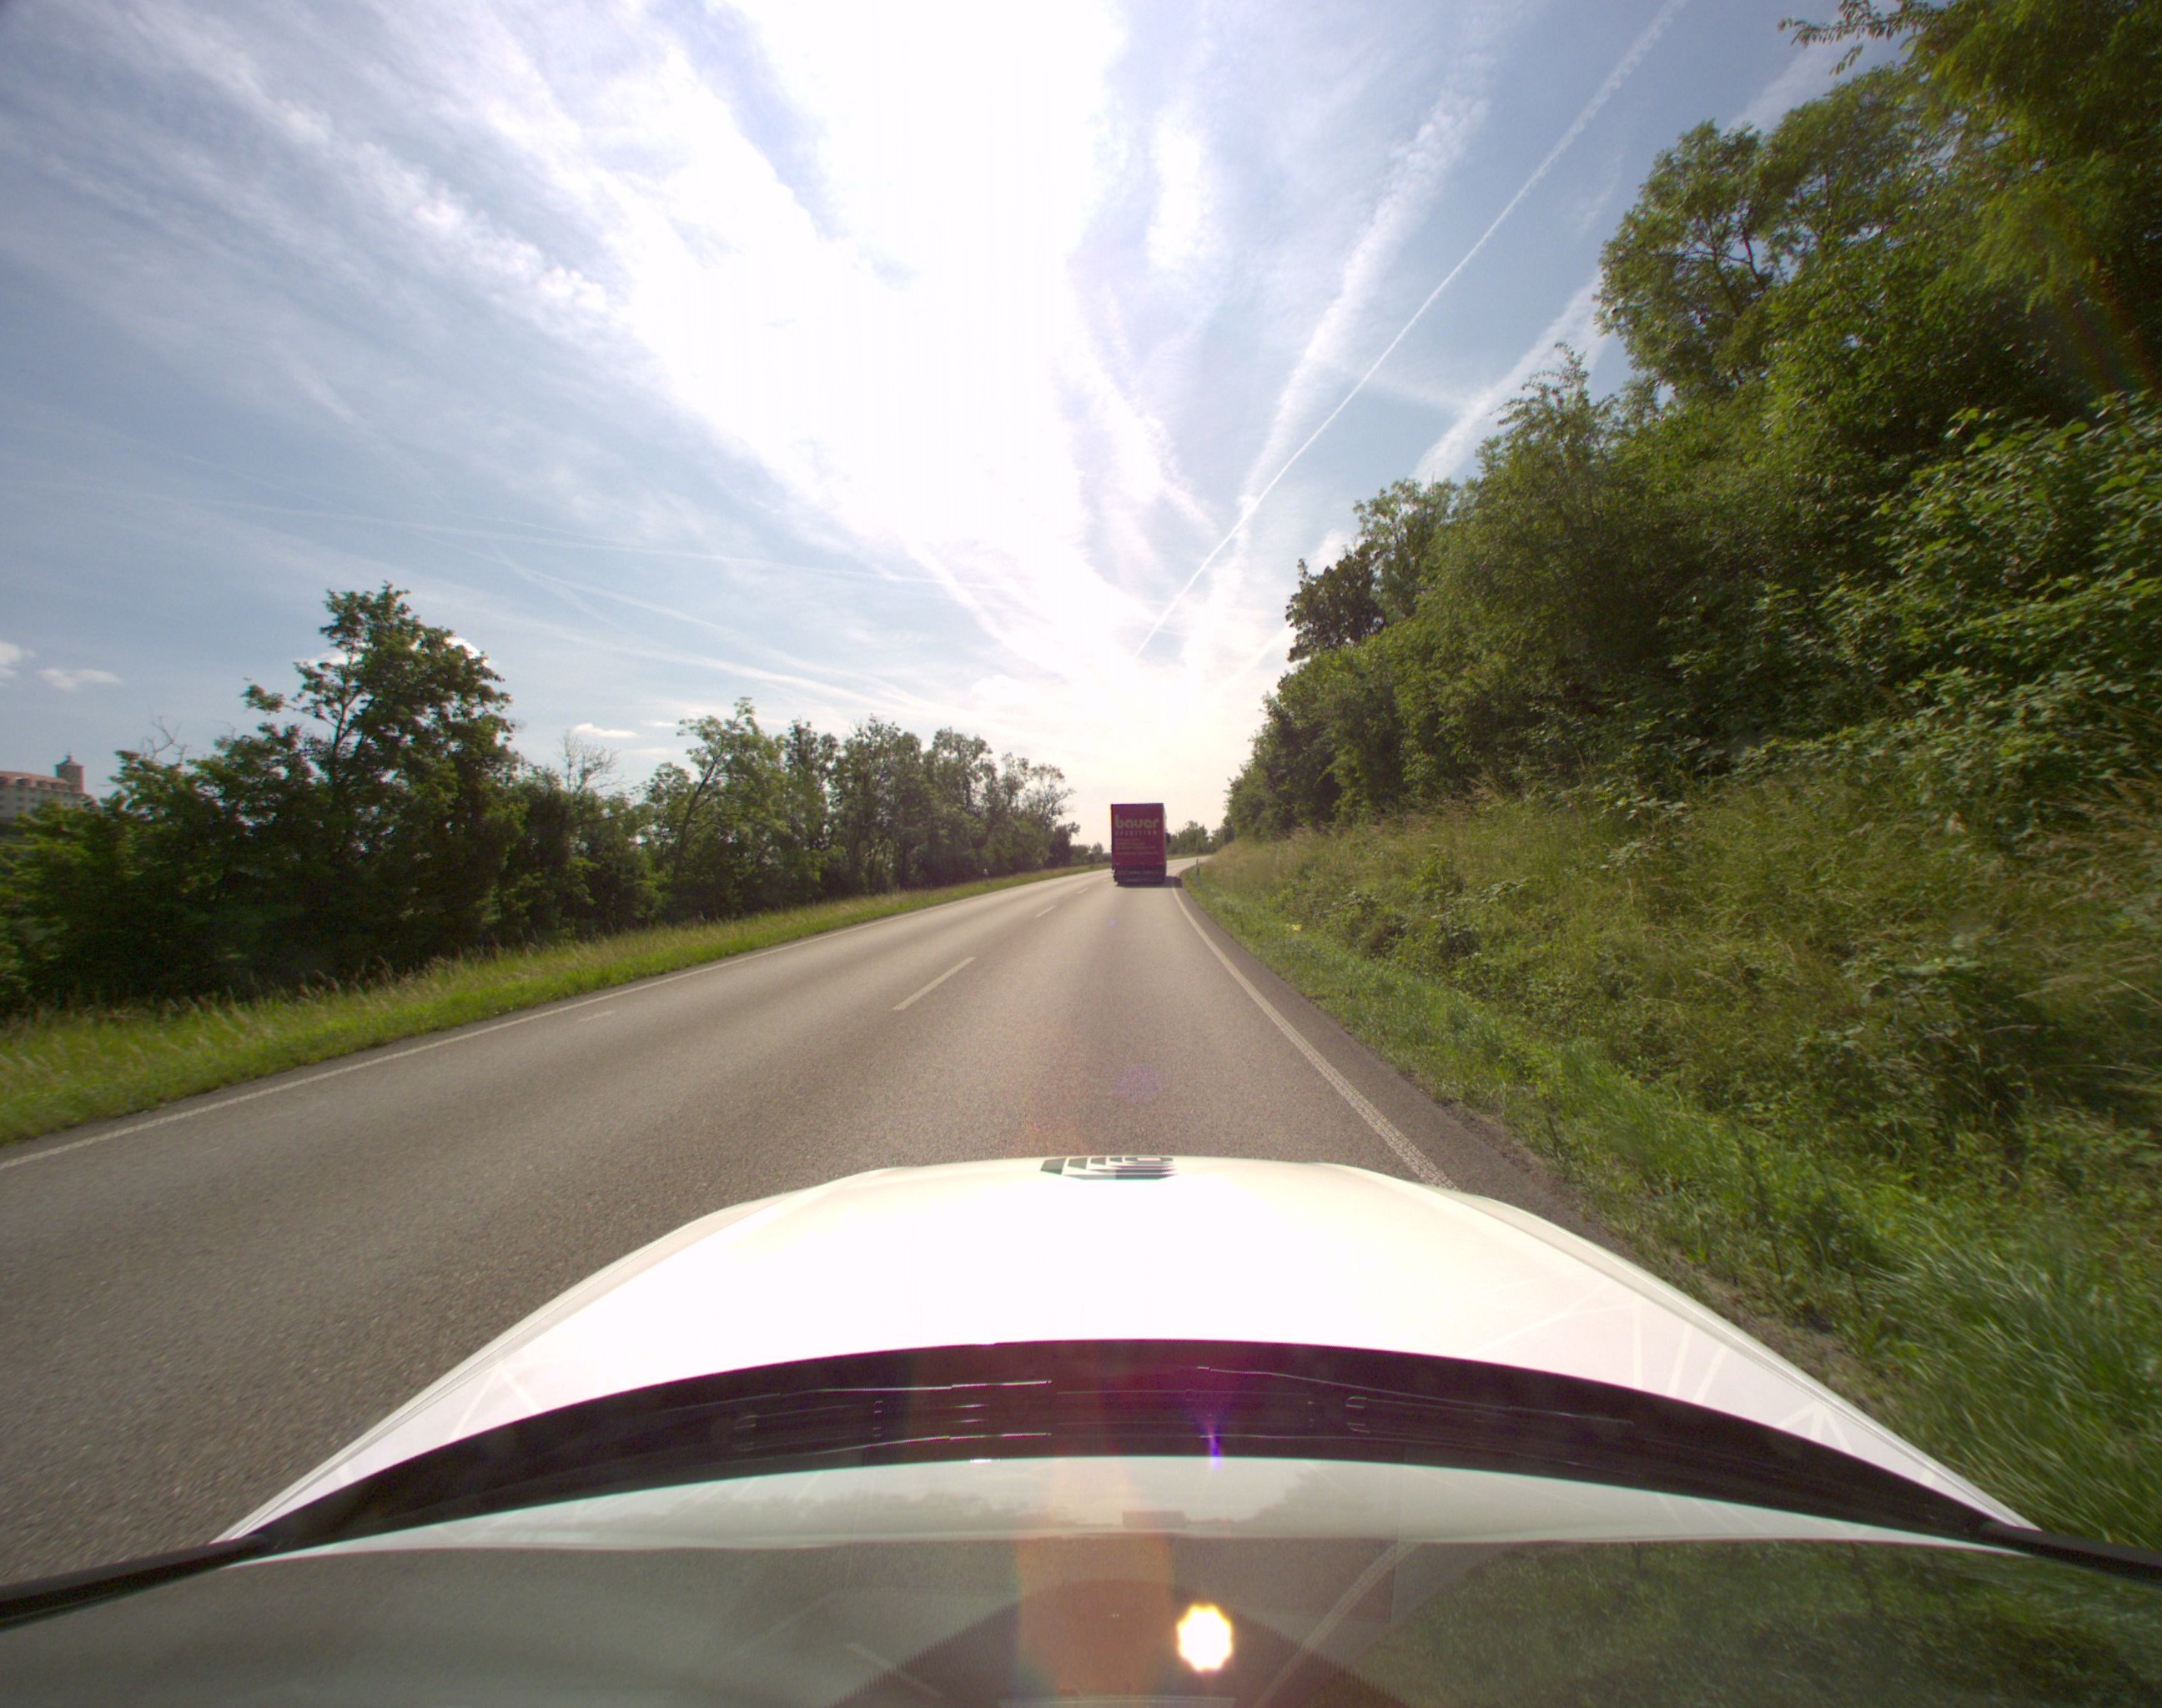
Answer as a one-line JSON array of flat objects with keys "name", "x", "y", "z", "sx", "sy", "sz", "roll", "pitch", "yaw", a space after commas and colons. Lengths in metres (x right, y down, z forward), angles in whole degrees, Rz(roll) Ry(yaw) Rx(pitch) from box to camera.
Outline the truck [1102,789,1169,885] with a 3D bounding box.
[{"name": "truck", "x": 3.194, "y": -0.794, "z": 44.720, "sx": 3.097, "sy": 4.506, "sz": 12.187, "roll": -1, "pitch": 0, "yaw": 6}]
